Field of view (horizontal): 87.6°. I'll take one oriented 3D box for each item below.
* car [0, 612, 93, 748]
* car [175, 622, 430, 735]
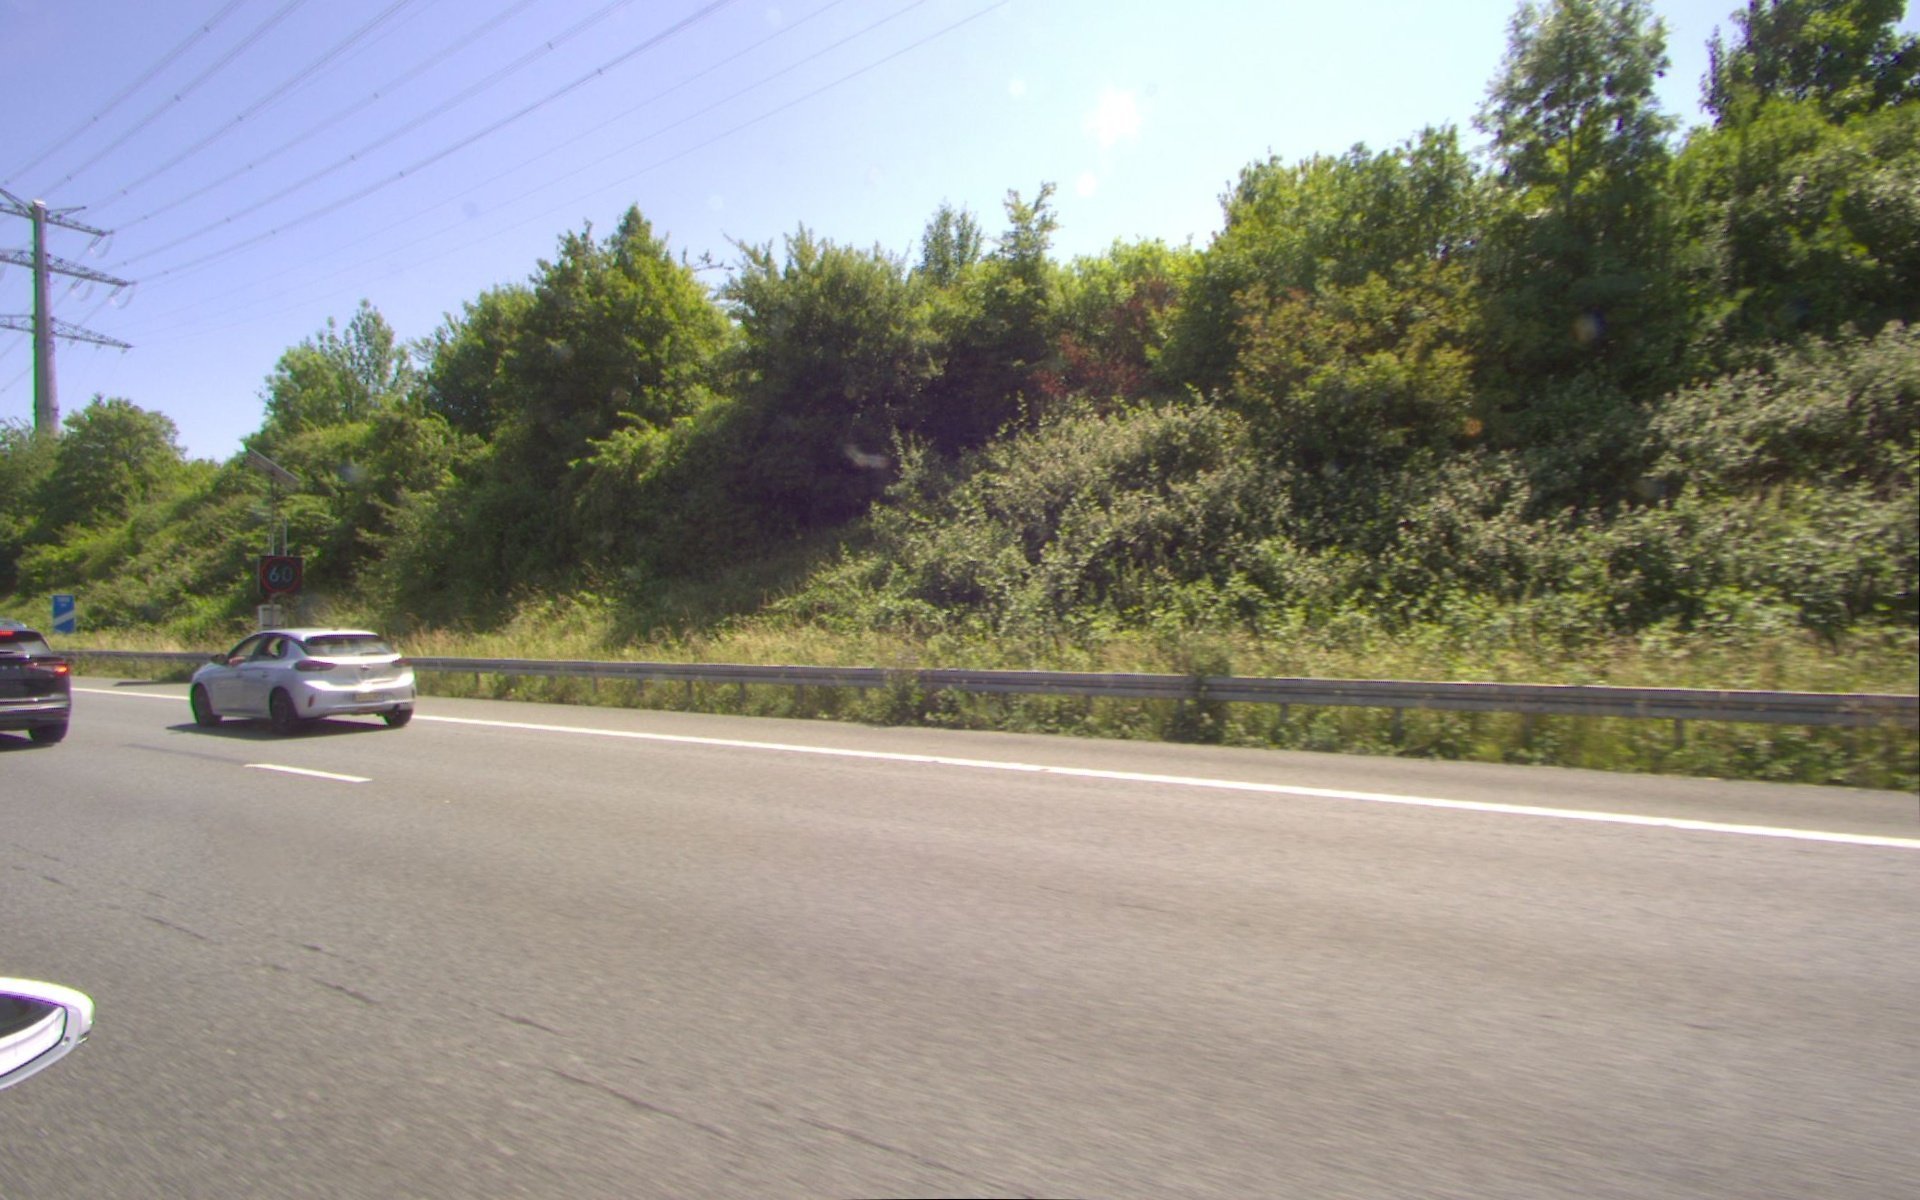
[{"bbox_3d":[-13.410,0.987,13.170,4.367,1.635,1.825,-1,-1,32],"label":"car"},{"bbox_3d":[-9.898,1.086,15.016,3.957,1.489,1.738,-1,-1,33],"label":"car"}]
